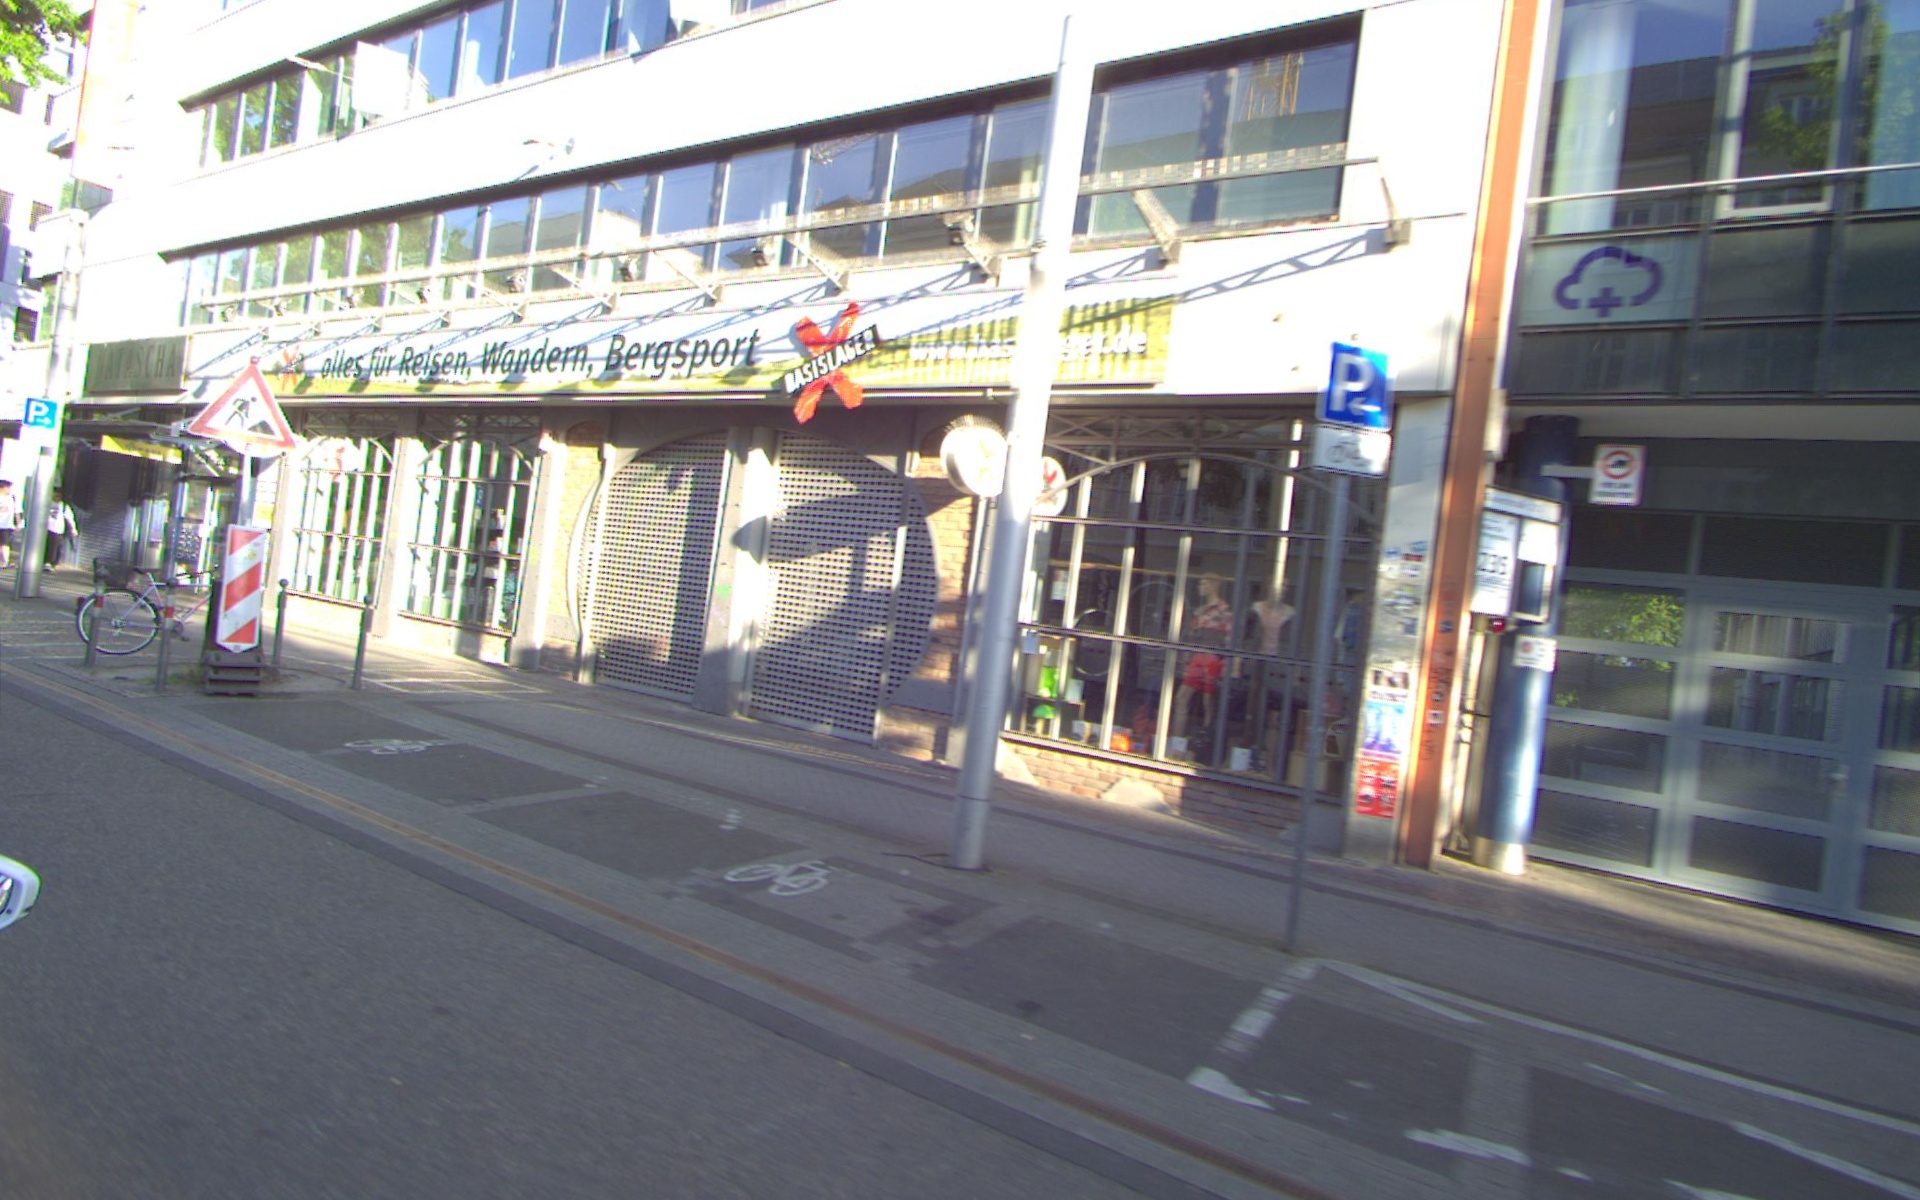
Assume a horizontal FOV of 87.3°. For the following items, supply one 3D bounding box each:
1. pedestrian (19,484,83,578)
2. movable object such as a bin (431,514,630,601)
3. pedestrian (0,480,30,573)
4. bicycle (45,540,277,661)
[{"bbox_3d":[-19.303,-1.460,21.363,0.624,1.852,0.689,7,0,31],"label":"pedestrian"},{"bbox_3d":[-20.649,-1.986,48.714,8.151,2.943,2.794,9,-2,-40],"label":"movable object such as a bin"},{"bbox_3d":[-19.729,-1.537,20.601,0.624,1.852,0.706,7,0,31],"label":"pedestrian"},{"bbox_3d":[-8.739,0.035,11.064,0.828,1.149,1.811,6,0,39],"label":"bicycle"}]
